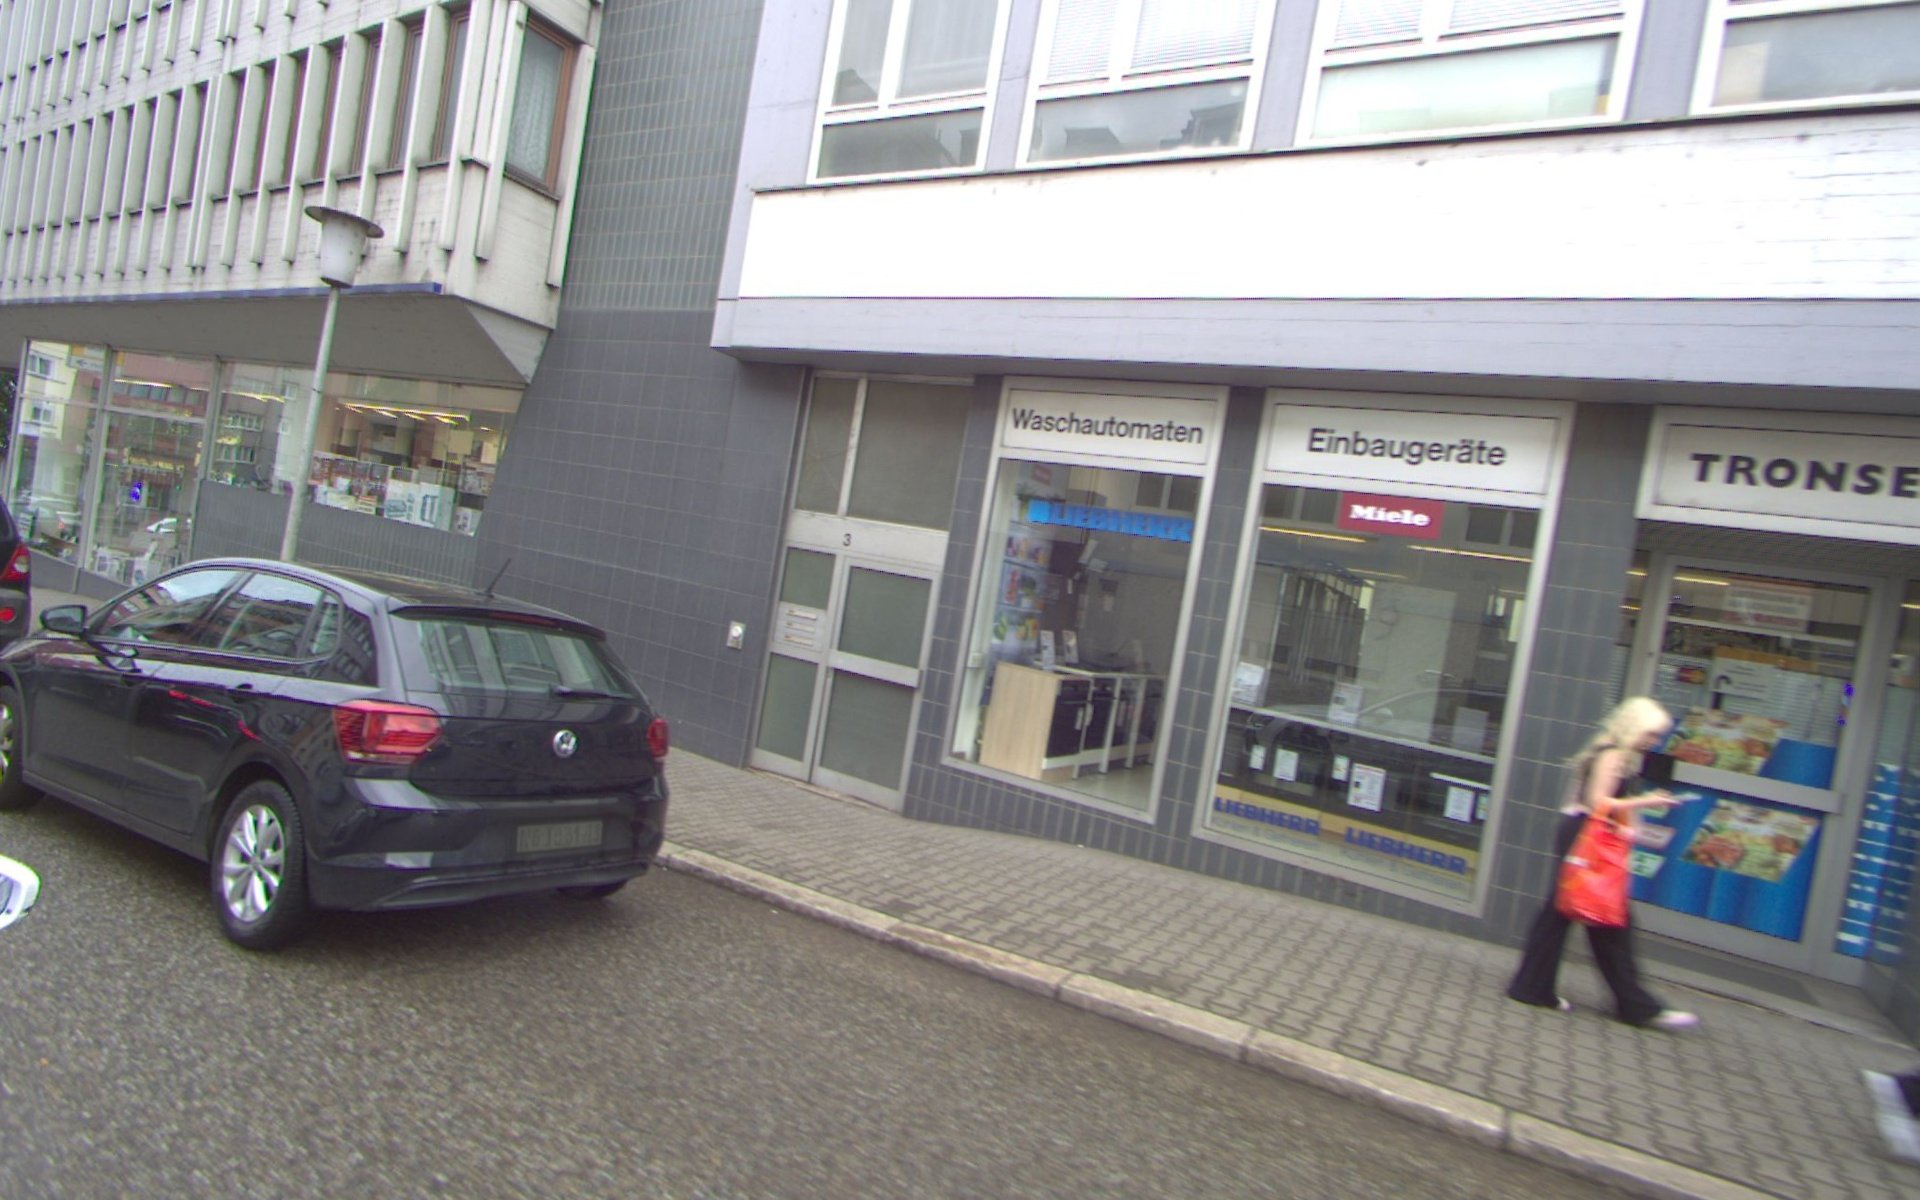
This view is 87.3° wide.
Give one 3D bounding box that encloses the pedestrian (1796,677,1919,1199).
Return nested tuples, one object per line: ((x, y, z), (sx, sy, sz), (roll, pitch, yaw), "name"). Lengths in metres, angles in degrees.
((3.714, 1.202, 3.368), (1.101, 1.728, 0.784), (7, 2, 28), "pedestrian")

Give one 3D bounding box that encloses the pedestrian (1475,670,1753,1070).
((3.027, 1.177, 4.770), (0.875, 1.571, 0.766), (7, 2, 28), "pedestrian")

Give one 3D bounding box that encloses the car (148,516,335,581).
((-24.678, -1.739, 34.753), (4.780, 1.512, 1.850), (8, -1, -17), "car")

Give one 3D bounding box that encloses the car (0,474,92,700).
((-9.544, -0.394, 8.474), (4.430, 1.713, 1.904), (7, -4, 31), "car")

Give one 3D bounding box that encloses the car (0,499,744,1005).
((-3.237, 0.500, 5.051), (3.932, 1.493, 1.694), (7, -4, 30), "car")

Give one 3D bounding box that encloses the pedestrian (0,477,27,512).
((-53.599, -5.934, 56.858), (0.818, 1.711, 1.029), (15, 5, 40), "pedestrian")
